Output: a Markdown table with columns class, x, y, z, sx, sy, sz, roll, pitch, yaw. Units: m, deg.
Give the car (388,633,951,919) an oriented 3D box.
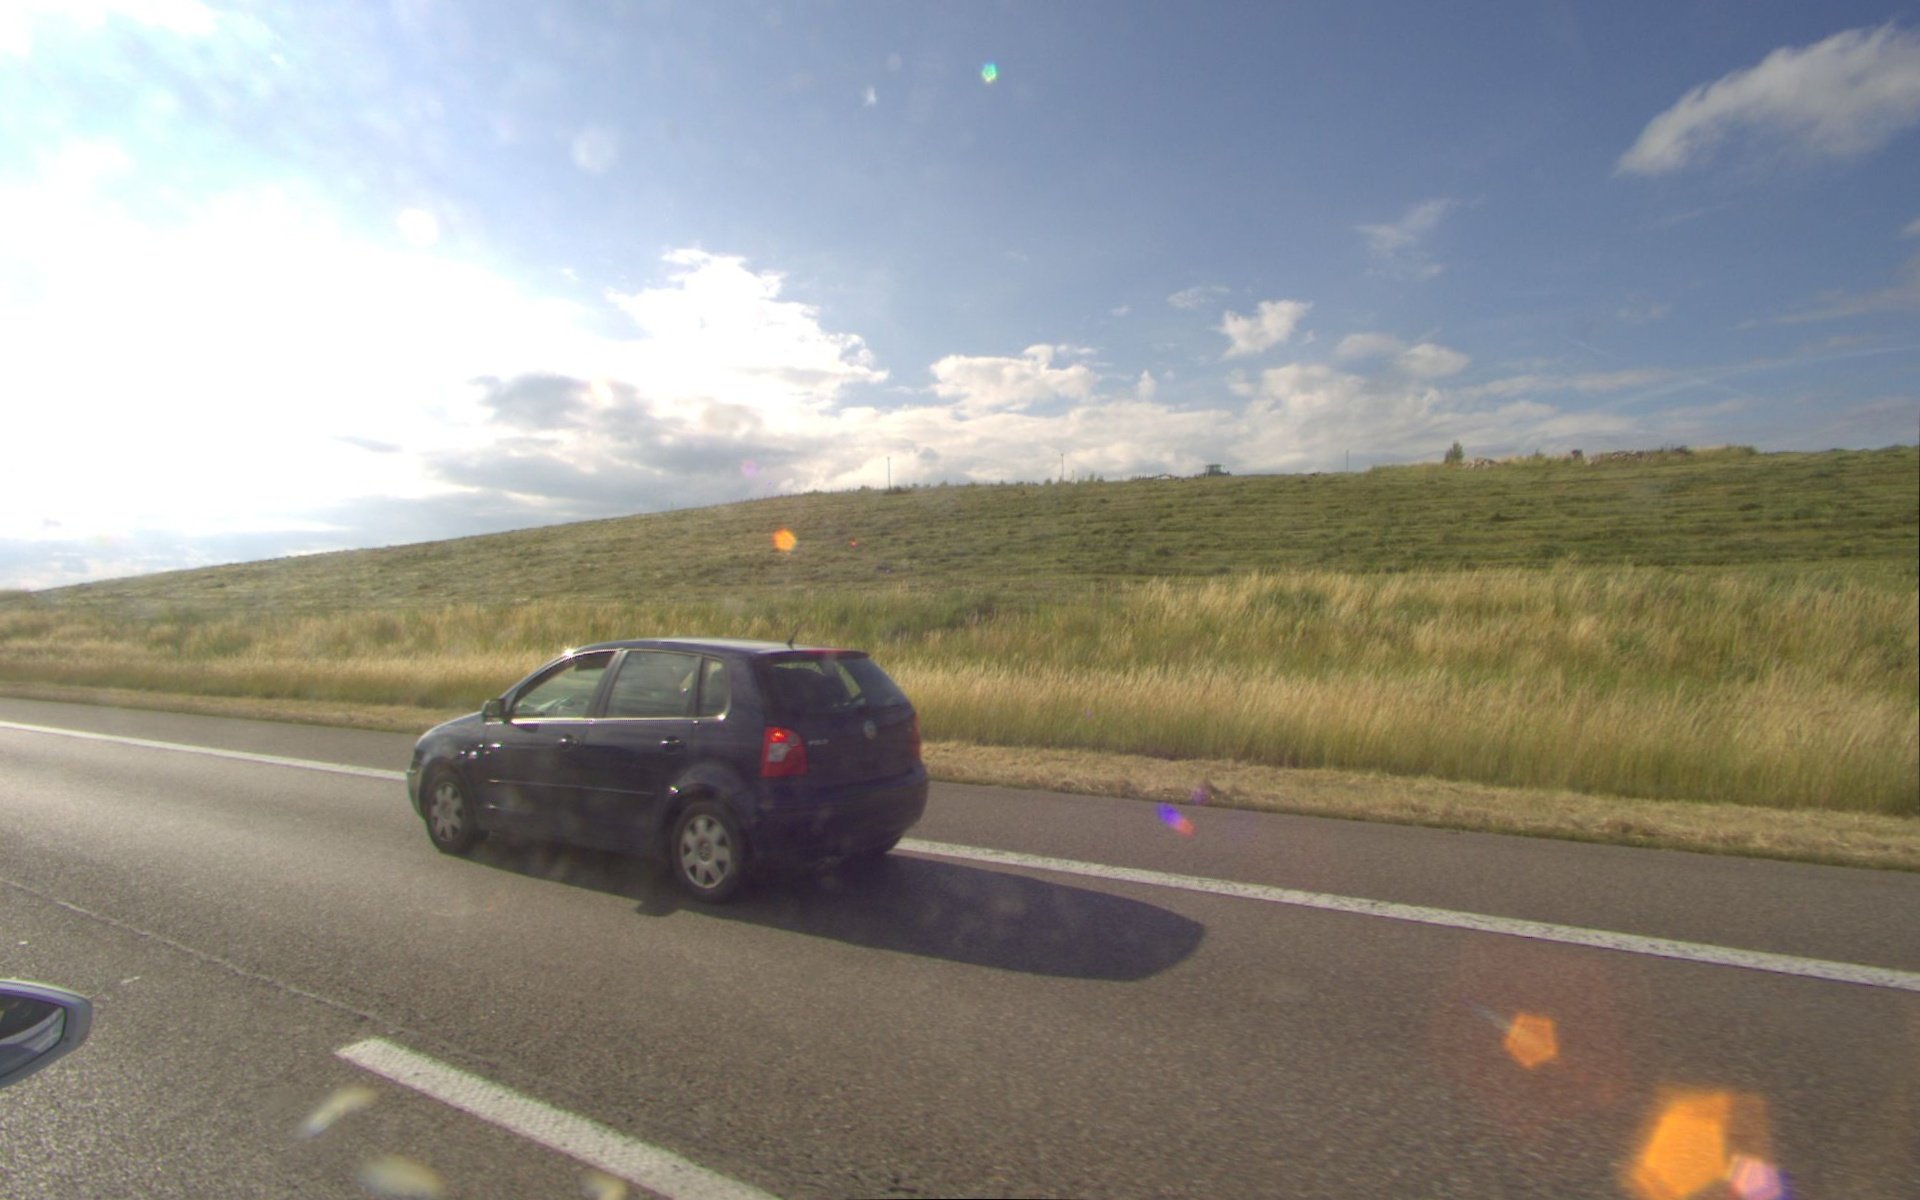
| class | x | y | z | sx | sy | sz | roll | pitch | yaw |
| --- | --- | --- | --- | --- | --- | --- | --- | --- | --- |
| car | -2.009 | 0.951 | 6.692 | 3.619 | 1.438 | 1.603 | -1 | -2 | 31 |
